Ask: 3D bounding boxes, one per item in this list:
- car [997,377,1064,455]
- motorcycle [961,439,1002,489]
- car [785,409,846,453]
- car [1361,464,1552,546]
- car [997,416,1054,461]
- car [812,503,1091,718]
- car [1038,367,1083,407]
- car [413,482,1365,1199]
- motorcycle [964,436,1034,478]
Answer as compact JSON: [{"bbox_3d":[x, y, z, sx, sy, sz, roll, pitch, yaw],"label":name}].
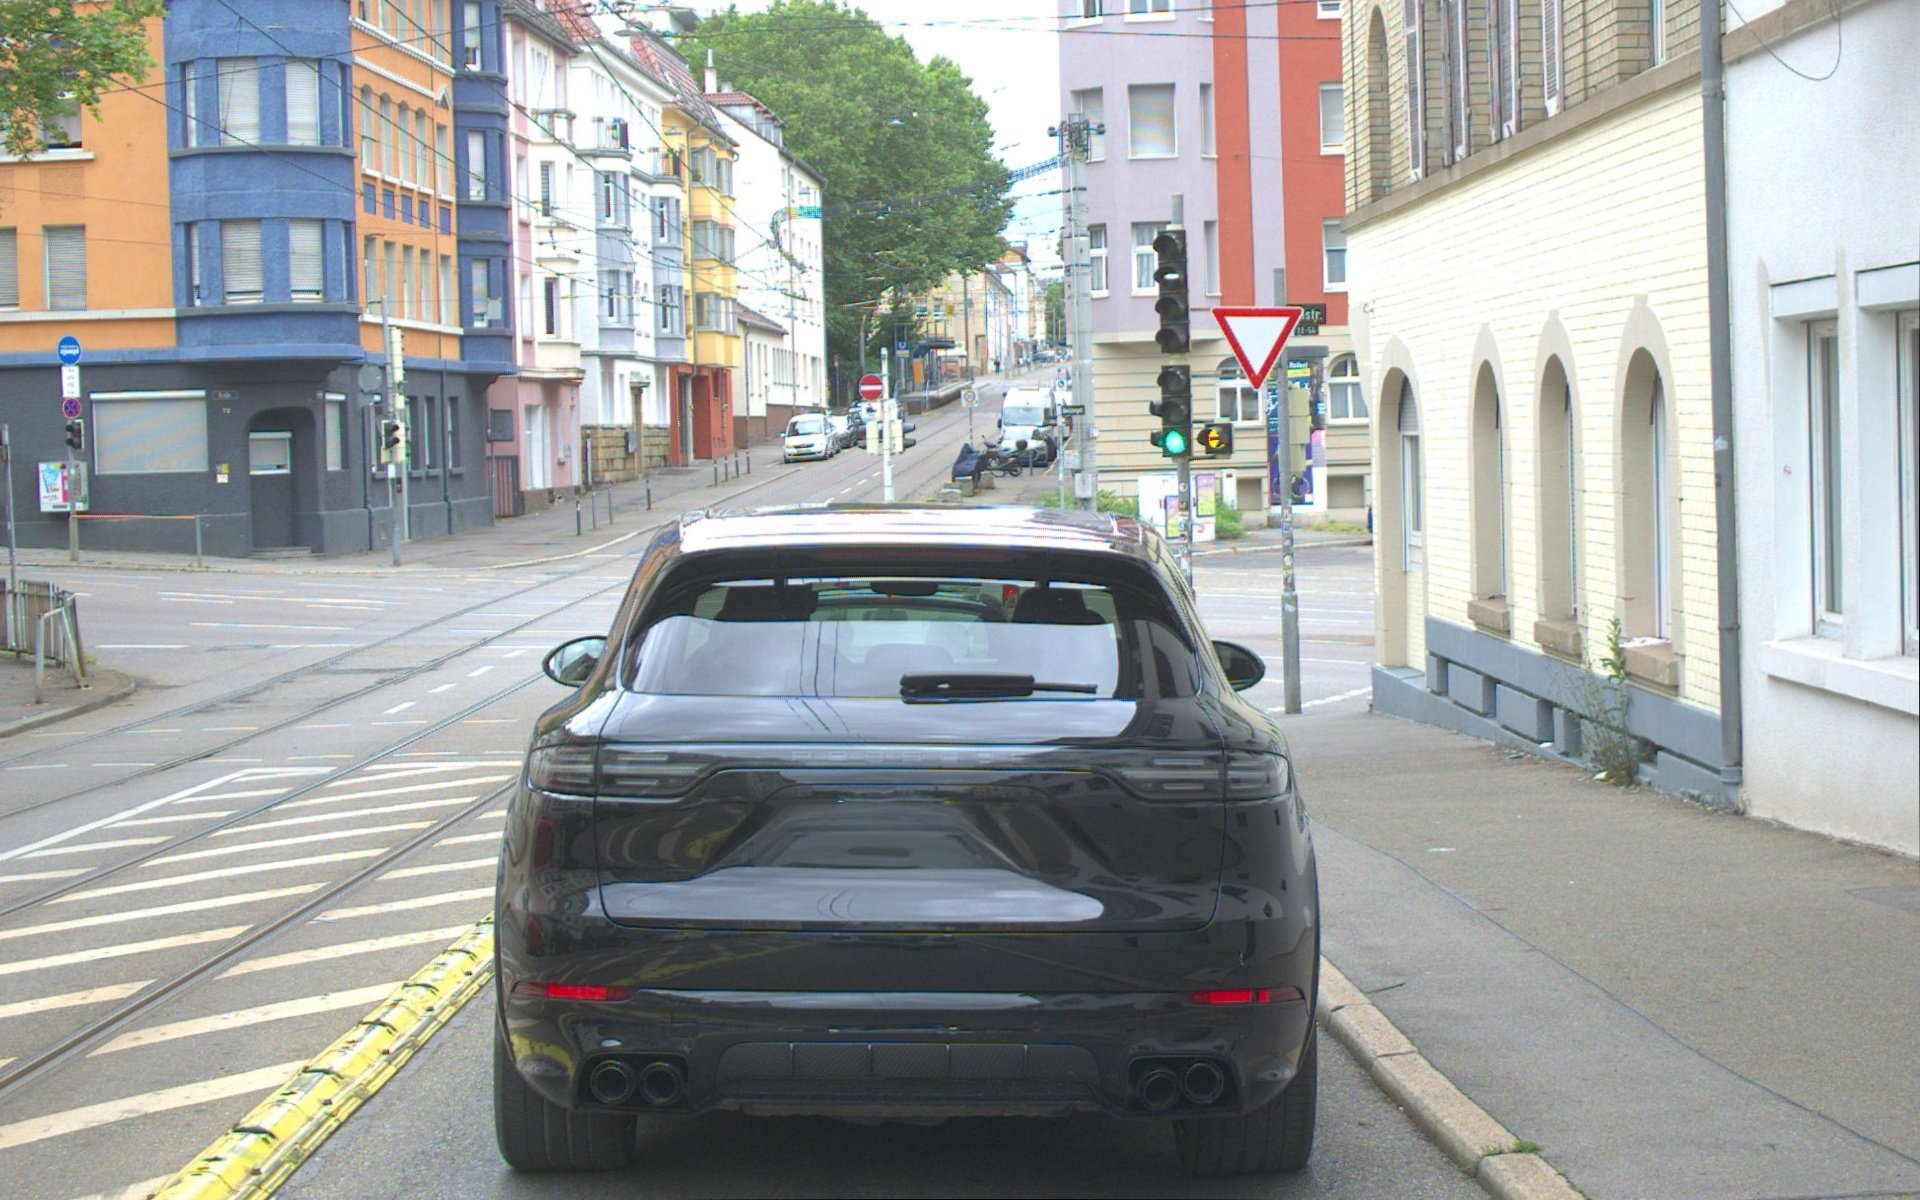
[{"bbox_3d":[2.702,-6.978,130.210,2.267,2.880,4.769,1,3,4],"label":"car"},{"bbox_3d":[0.632,-4.007,101.060,0.859,1.321,2.185,-6,4,-5],"label":"motorcycle"},{"bbox_3d":[-5.739,-6.737,136.837,1.994,1.686,4.000,1,3,4],"label":"car"},{"bbox_3d":[10.843,-2.102,74.937,4.130,1.529,1.918,-5,6,-41],"label":"car"},{"bbox_3d":[2.398,-5.889,124.746,1.840,1.563,3.819,1,3,4],"label":"car"},{"bbox_3d":[-0.005,0.060,32.677,1.866,1.877,4.283,-1,1,10],"label":"car"},{"bbox_3d":[5.597,-11.855,191.364,2.267,2.176,4.769,1,3,4],"label":"car"},{"bbox_3d":[-0.083,0.517,9.607,2.024,1.636,4.356,1,2,2],"label":"car"},{"bbox_3d":[1.268,-4.639,111.540,2.176,1.322,0.700,0,3,-6],"label":"motorcycle"}]
